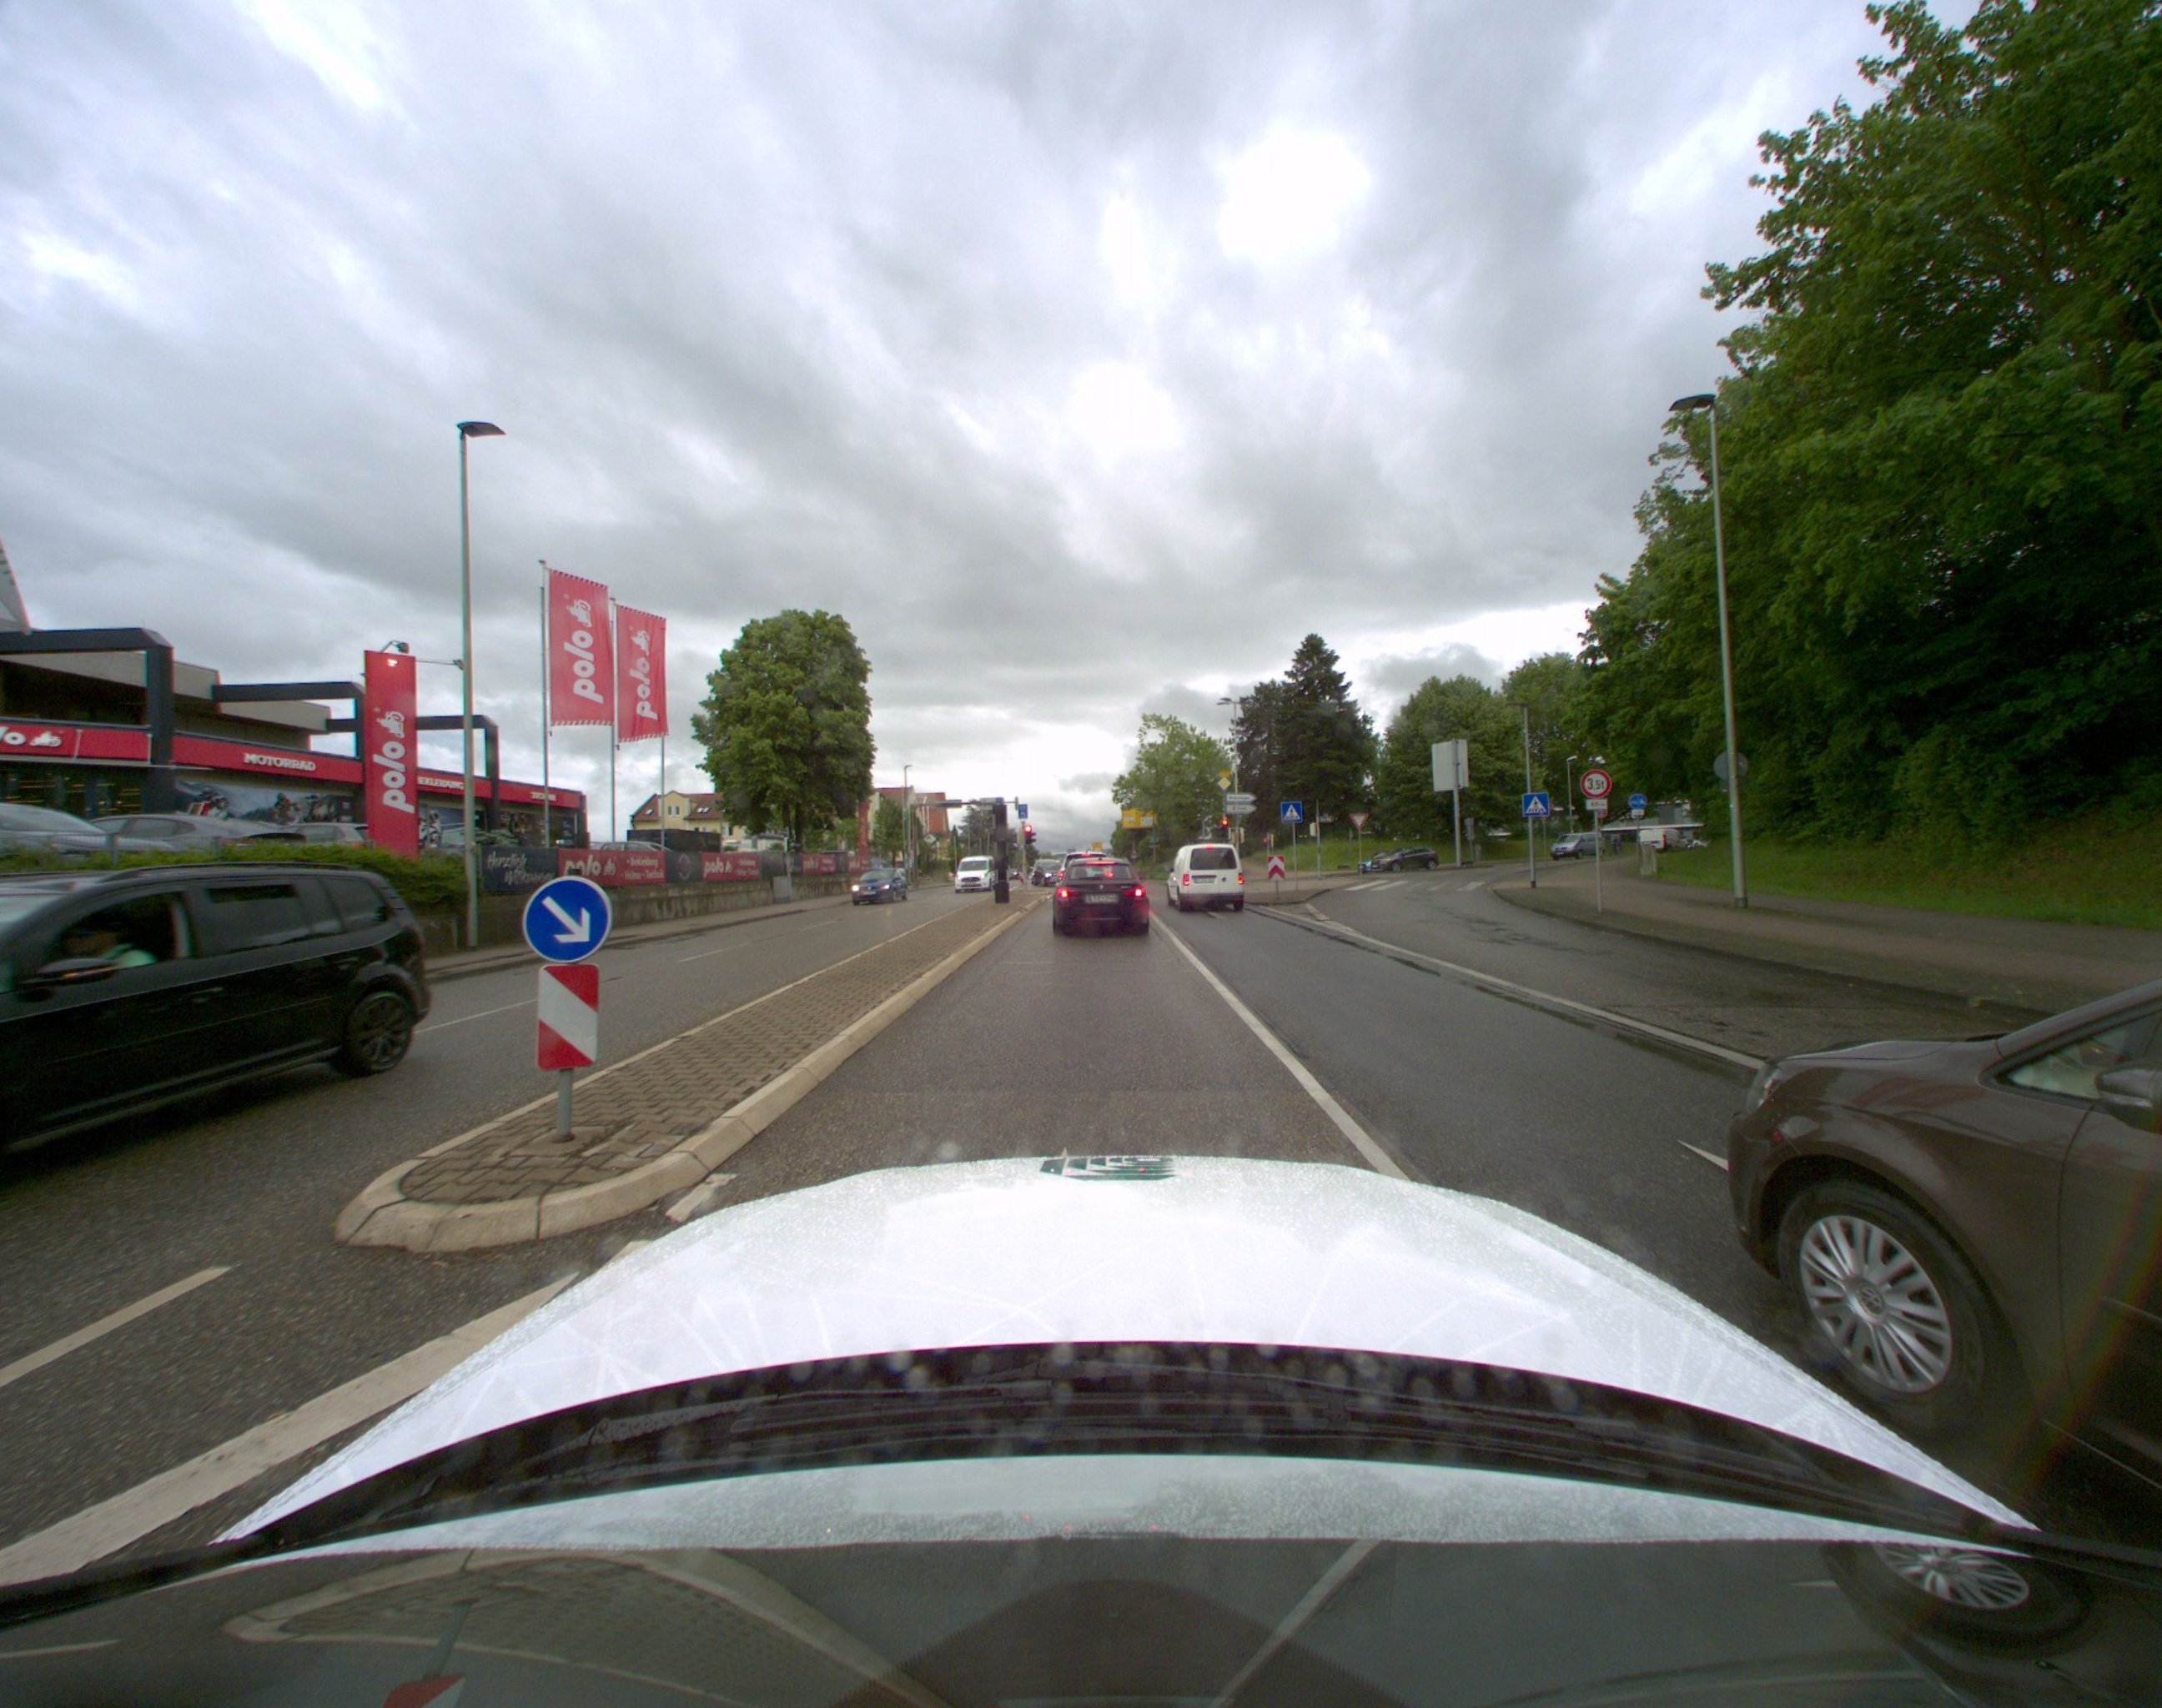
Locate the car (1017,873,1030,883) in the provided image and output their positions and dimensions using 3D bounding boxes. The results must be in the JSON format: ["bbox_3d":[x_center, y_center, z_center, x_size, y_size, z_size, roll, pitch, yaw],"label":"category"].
[{"bbox_3d":[-8.935,3.760,126.393,1.662,1.354,3.442,-2,0,0],"label":"car"}]

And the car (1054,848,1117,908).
[{"bbox_3d":[0.202,0.685,25.223,1.720,1.711,3.386,-1,0,4],"label":"car"}]

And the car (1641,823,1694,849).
[{"bbox_3d":[41.395,-1.281,57.460,3.963,1.708,1.800,-3,1,-35],"label":"car"}]

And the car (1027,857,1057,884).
[{"bbox_3d":[-2.571,1.066,54.492,1.729,1.691,4.000,-2,-1,0],"label":"car"}]

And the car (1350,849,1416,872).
[{"bbox_3d":[20.432,0.441,55.050,3.997,1.294,1.599,-3,1,-17],"label":"car"}]

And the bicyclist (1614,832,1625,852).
[{"bbox_3d":[42.408,-0.939,64.147,0.563,1.489,0.451,-2,0,-27],"label":"bicyclist"}]

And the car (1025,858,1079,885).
[{"bbox_3d":[-1.736,0.989,47.357,1.902,1.456,4.068,0,-1,-21],"label":"car"}]

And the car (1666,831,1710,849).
[{"bbox_3d":[54.168,-1.296,72.618,4.015,1.447,1.820,-2,-1,-33],"label":"car"}]

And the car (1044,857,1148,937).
[{"bbox_3d":[0.393,0.781,16.642,1.847,1.419,3.960,0,0,3],"label":"car"}]

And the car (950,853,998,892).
[{"bbox_3d":[-5.551,0.949,42.637,1.852,1.823,4.577,-4,-1,-1],"label":"car"}]

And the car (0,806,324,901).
[{"bbox_3d":[-16.160,-0.021,14.426,3.643,1.482,1.738,-2,0,-7],"label":"car"}]

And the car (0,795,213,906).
[{"bbox_3d":[-15.636,-0.007,11.865,3.822,1.482,1.738,-2,0,-7],"label":"car"}]

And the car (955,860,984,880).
[{"bbox_3d":[-8.666,1.208,63.568,1.662,1.382,4.072,-2,0,0],"label":"car"}]

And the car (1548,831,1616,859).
[{"bbox_3d":[35.674,-0.651,57.971,4.752,1.851,1.885,-2,1,-26],"label":"car"}]

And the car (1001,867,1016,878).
[{"bbox_3d":[-9.580,2.430,107.945,1.662,1.354,3.442,-2,0,0],"label":"car"}]

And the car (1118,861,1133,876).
[{"bbox_3d":[4.788,1.517,88.008,1.594,1.371,3.683,-2,1,3],"label":"car"}]

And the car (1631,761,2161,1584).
[{"bbox_3d":[2.940,0.615,1.027,1.708,1.596,4.130,-1,1,0],"label":"car"}]

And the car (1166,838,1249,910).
[{"bbox_3d":[3.500,0.509,23.138,1.736,1.869,3.945,-1,0,0],"label":"car"}]

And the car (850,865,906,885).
[{"bbox_3d":[-16.933,1.696,67.863,4.216,1.456,1.785,-2,0,-27],"label":"car"}]

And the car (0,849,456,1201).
[{"bbox_3d":[-6.133,0.863,4.849,1.753,1.677,4.142,-3,0,-4],"label":"car"}]

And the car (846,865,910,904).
[{"bbox_3d":[-8.325,1.216,33.710,1.629,1.381,3.764,-3,0,0],"label":"car"}]

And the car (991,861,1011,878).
[{"bbox_3d":[-8.726,1.676,89.086,1.662,1.670,3.682,-2,0,0],"label":"car"}]

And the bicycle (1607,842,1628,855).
[{"bbox_3d":[42.209,-0.429,64.048,1.754,0.953,0.574,-2,0,-27],"label":"bicycle"}]

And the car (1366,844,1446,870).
[{"bbox_3d":[20.488,0.181,51.440,4.316,1.467,1.895,-2,0,-9],"label":"car"}]
